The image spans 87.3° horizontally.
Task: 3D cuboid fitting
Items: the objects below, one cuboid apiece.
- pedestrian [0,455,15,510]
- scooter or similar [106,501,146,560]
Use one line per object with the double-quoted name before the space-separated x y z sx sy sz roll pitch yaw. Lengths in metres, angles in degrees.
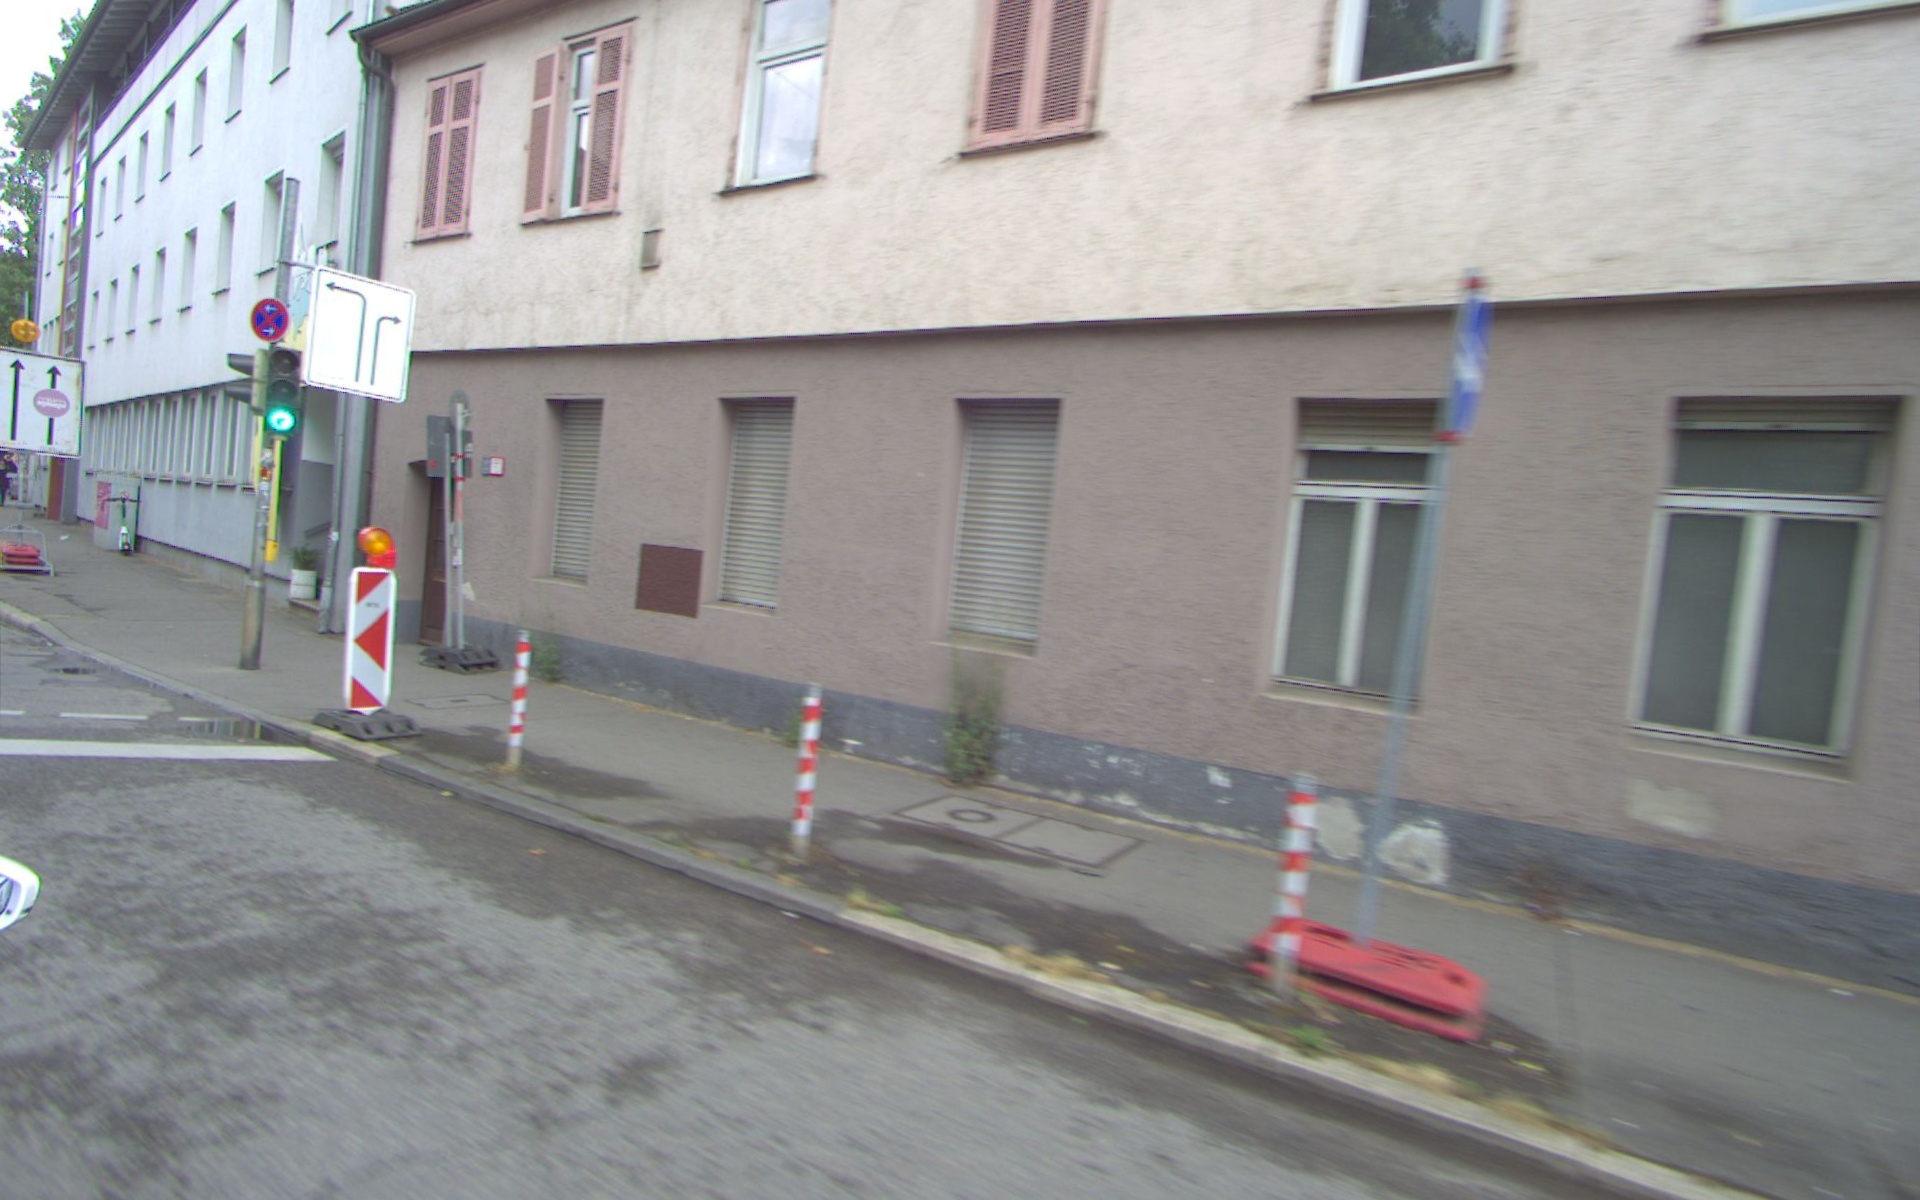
"pedestrian" -32.367 -3.977 33.977 0.538 1.782 0.602 2 6 -35
"scooter or similar" -17.543 -1.464 21.151 1.418 1.112 0.427 9 5 42
